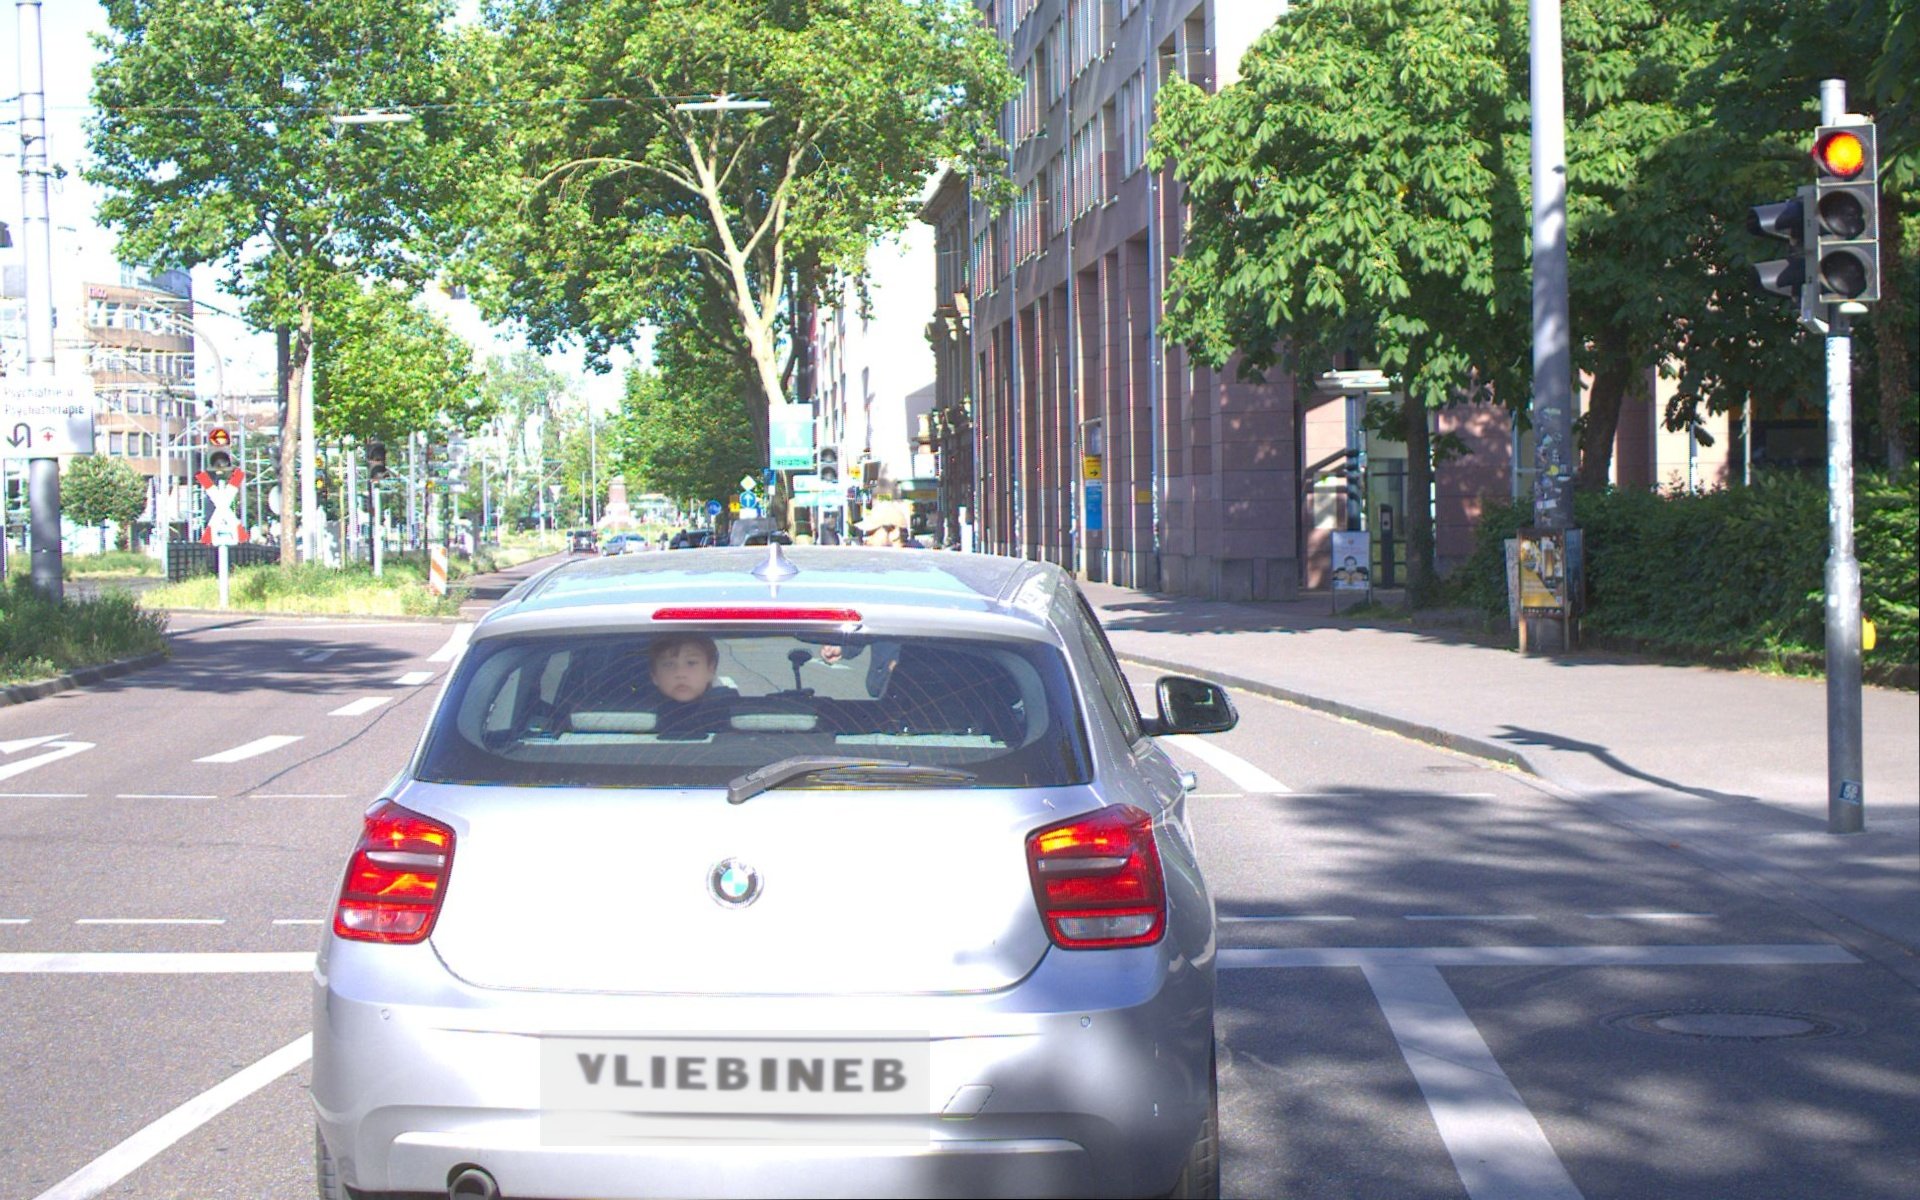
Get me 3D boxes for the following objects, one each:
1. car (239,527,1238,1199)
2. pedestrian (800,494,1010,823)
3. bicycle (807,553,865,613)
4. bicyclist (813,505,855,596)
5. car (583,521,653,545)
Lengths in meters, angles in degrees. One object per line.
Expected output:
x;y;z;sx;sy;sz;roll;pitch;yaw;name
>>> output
-0.302;0.565;7.884;1.730;1.385;3.840;1;2;3;car
-0.284;0.281;17.372;0.940;1.623;0.629;0;1;-13;pedestrian
-2.274;-0.325;63.286;0.831;1.038;1.874;-1;1;5;bicycle
-2.313;-0.910;63.135;0.658;1.651;0.765;-1;1;5;bicyclist
-21.418;-4.210;215.540;3.988;1.481;2.000;0;1;7;car
